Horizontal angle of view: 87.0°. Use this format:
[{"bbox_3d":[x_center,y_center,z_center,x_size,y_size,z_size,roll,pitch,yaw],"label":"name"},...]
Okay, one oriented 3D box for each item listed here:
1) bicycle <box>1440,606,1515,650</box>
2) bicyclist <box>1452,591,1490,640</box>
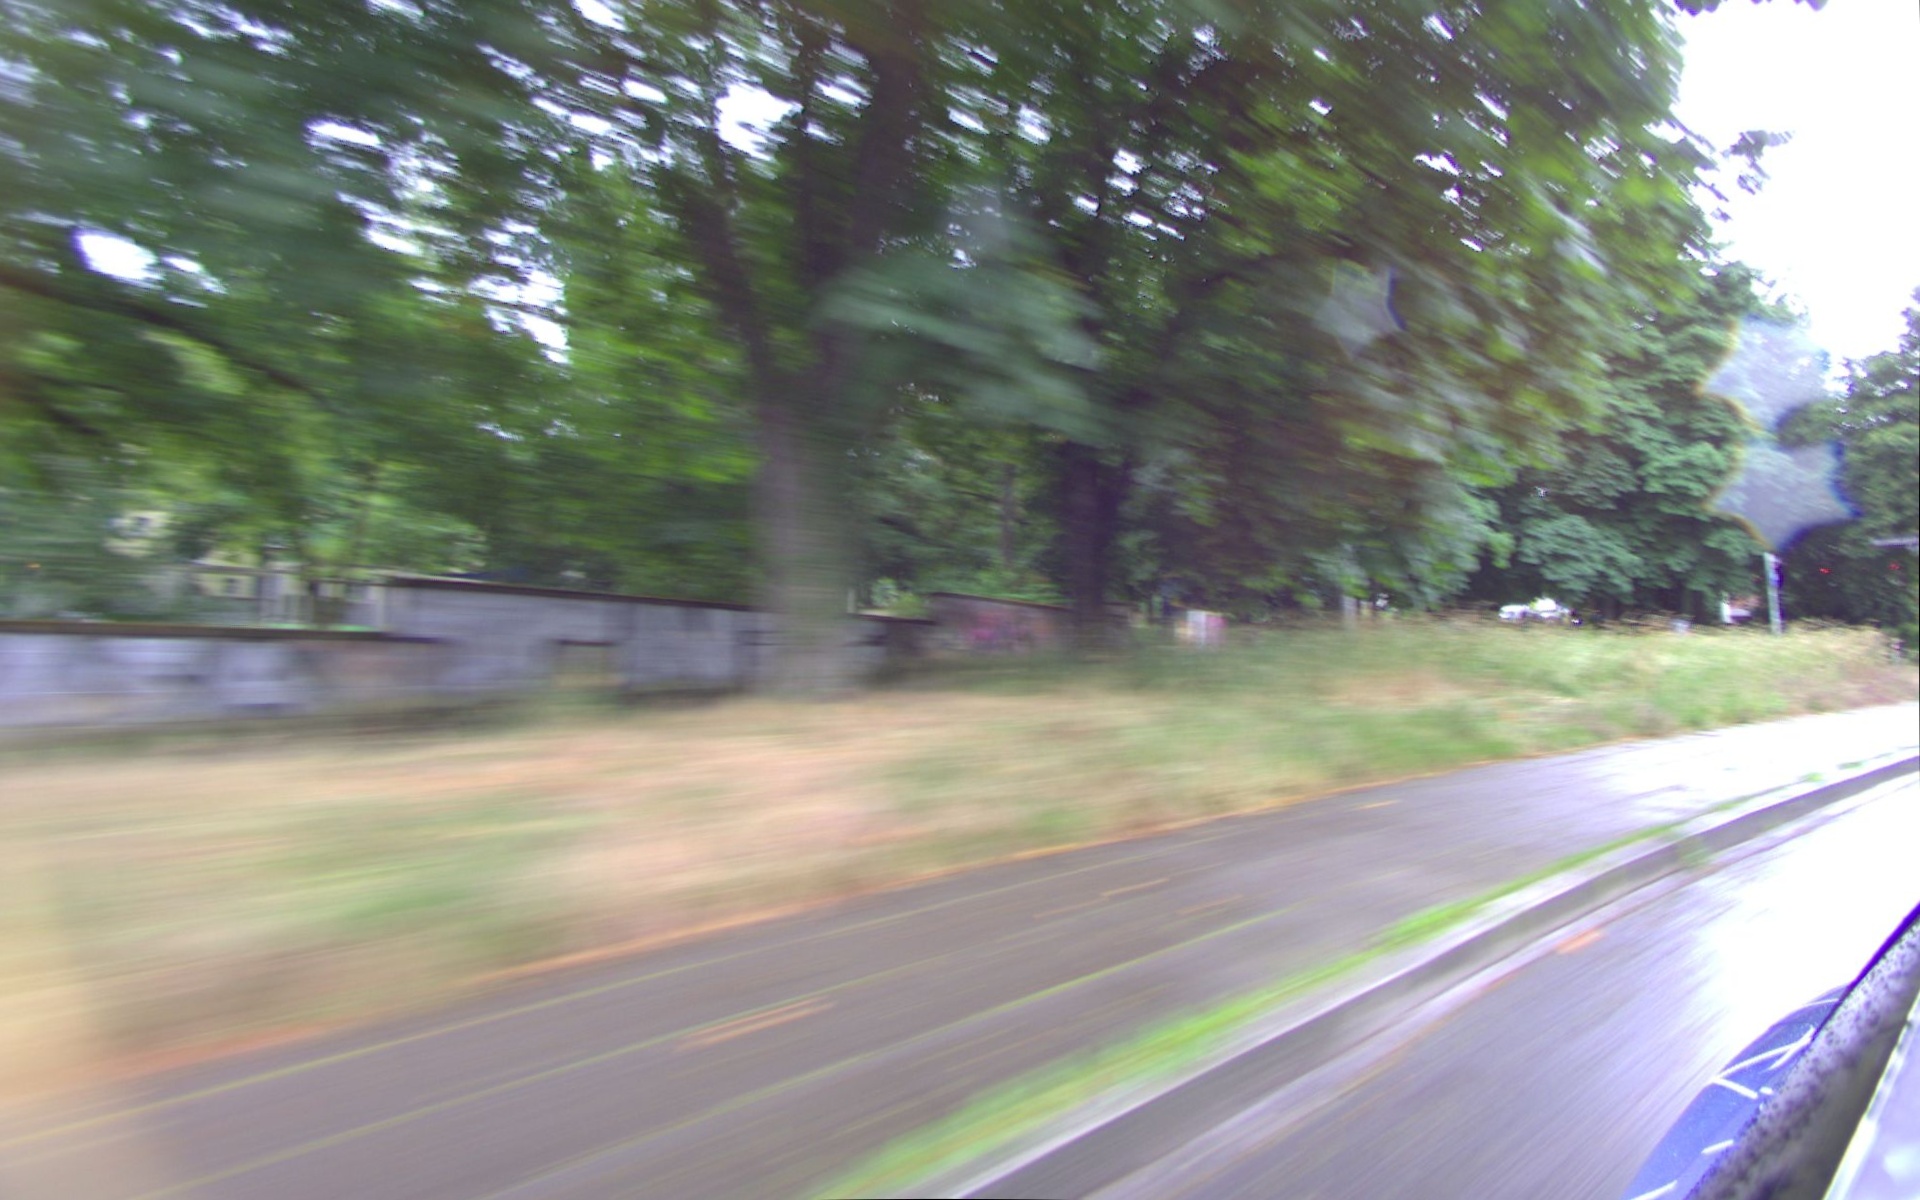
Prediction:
[{"bbox_3d":[14.145,0.750,27.684,1.706,1.155,0.616,-1,-1,45],"label":"bicycle"},{"bbox_3d":[14.062,0.435,27.836,0.797,1.311,0.585,-1,-4,43],"label":"bicyclist"}]
